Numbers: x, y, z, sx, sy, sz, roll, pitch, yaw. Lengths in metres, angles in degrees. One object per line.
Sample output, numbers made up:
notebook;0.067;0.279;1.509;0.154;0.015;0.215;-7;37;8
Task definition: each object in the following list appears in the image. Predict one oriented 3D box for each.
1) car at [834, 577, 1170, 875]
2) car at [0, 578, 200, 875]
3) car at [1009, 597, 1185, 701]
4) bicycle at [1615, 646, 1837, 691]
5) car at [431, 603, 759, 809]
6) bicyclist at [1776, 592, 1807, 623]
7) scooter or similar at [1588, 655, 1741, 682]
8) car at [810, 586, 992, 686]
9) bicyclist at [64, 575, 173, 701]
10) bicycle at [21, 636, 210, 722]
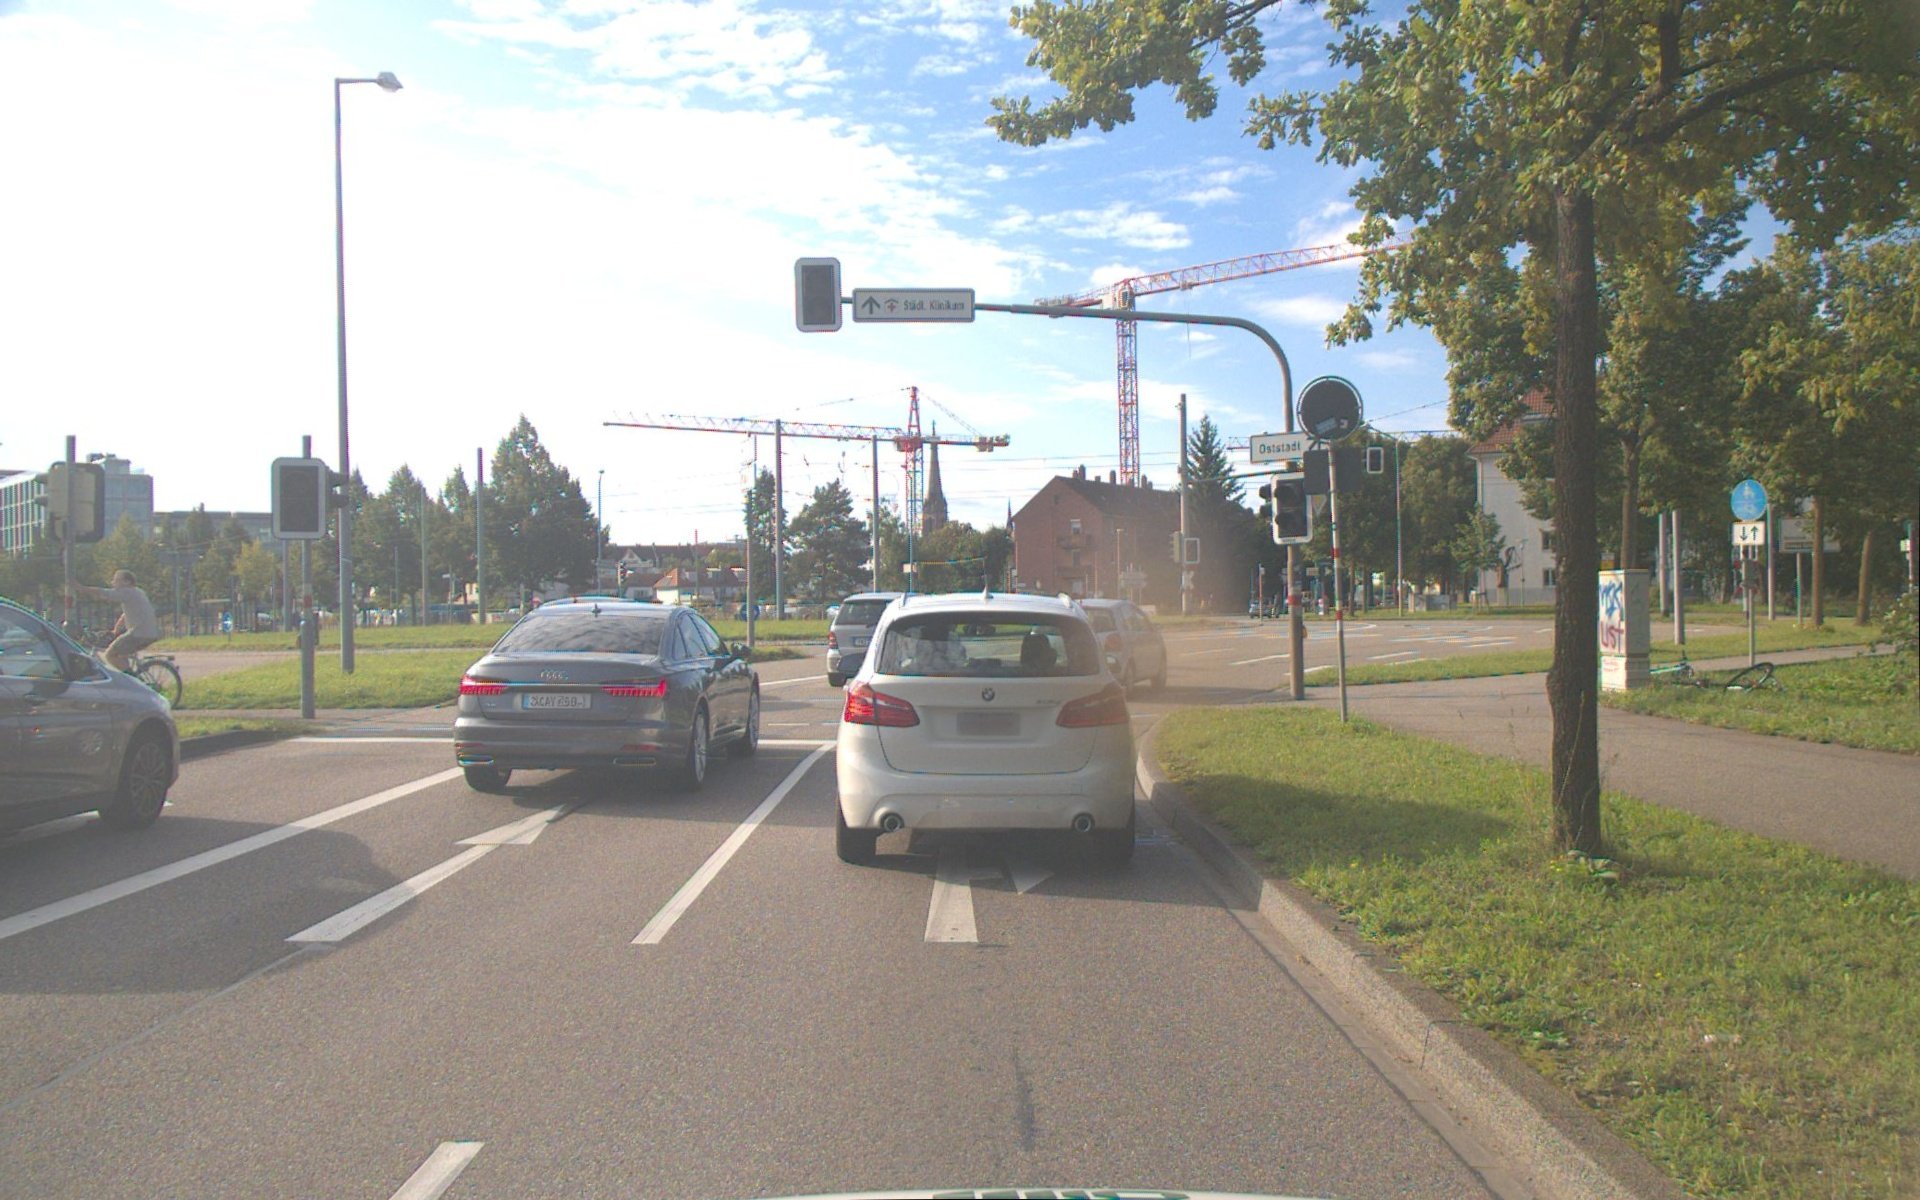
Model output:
car;0.199;0.685;11.155;1.813;1.600;4.454;0;0;-1
car;-6.049;0.684;9.288;1.732;1.600;4.066;0;0;-1
car;2.279;0.708;26.400;1.812;1.451;4.457;0;1;18
bicycle;9.224;0.814;20.003;1.078;0.352;2.223;-1;2;-34
car;-2.904;0.763;14.222;1.813;1.470;4.714;0;0;-1
bicyclist;37.541;0.337;74.656;0.982;1.378;0.714;-2;0;-2
scooter or similar;9.748;0.940;22.919;1.529;0.286;1.283;-2;0;-26
car;-0.925;0.574;28.981;1.811;1.503;4.458;-1;2;17
bicyclist;-10.863;0.481;21.383;0.845;1.583;0.998;-1;0;4
bicycle;-10.901;1.008;21.396;1.914;1.025;1.002;-1;0;3
